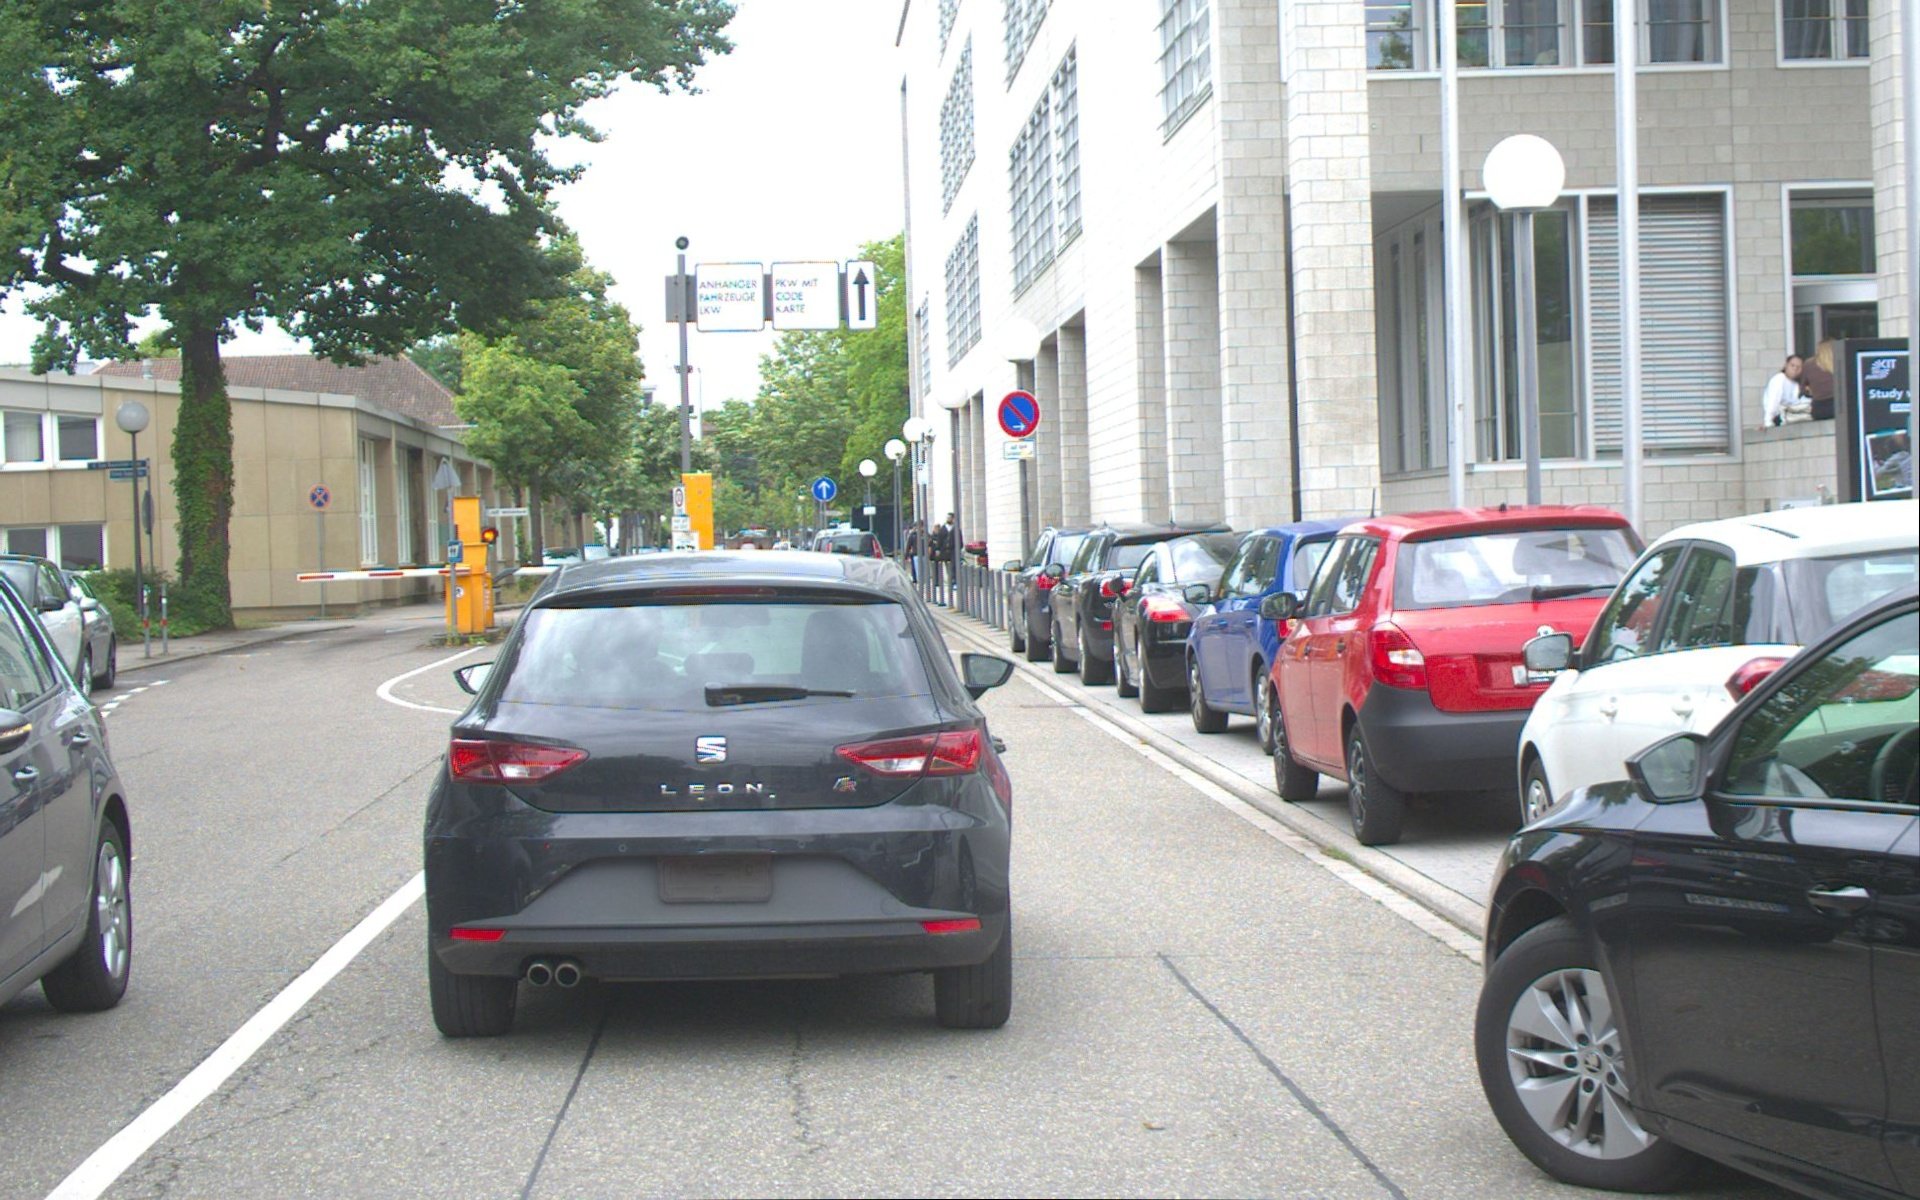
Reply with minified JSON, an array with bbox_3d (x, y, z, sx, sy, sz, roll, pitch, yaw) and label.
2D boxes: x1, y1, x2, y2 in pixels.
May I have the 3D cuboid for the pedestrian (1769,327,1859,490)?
[{"bbox_3d":[8.759,-1.961,35.271,0.805,1.653,0.631,1,3,22],"label":"pedestrian"}]

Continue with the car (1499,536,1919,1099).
[{"bbox_3d":[3.075,0.536,11.067,1.860,1.448,3.859,-2,1,-3],"label":"car"}]

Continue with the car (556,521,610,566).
[{"bbox_3d":[-13.972,-2.096,127.517,1.770,1.595,4.001,-1,1,-3],"label":"car"}]

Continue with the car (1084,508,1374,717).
[{"bbox_3d":[2.106,0.037,28.053,1.848,1.437,4.420,-1,3,-2],"label":"car"}]

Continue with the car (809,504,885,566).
[{"bbox_3d":[-3.246,-1.852,97.692,1.993,1.617,4.429,-3,1,-3],"label":"car"}]

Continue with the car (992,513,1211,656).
[{"bbox_3d":[1.517,-0.201,38.763,1.993,1.447,4.923,-2,1,-3],"label":"car"}]

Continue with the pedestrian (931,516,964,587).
[{"bbox_3d":[-0.303,-1.172,83.480,0.727,1.693,0.588,-1,3,-8],"label":"pedestrian"}]

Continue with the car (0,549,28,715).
[{"bbox_3d":[-9.047,0.327,28.566,1.763,1.407,4.009,-2,2,-4],"label":"car"}]

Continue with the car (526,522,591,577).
[{"bbox_3d":[-12.218,-1.548,104.784,1.770,1.595,4.001,-1,1,-4],"label":"car"}]

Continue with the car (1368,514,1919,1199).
[{"bbox_3d":[2.462,0.559,6.305,1.860,1.397,4.480,-4,2,-14],"label":"car"}]

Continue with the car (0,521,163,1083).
[{"bbox_3d":[-3.481,0.562,9.407,1.783,1.492,4.168,-2,1,-3],"label":"car"}]

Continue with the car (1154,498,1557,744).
[{"bbox_3d":[2.508,0.096,22.885,1.695,1.406,4.377,-2,1,-6],"label":"car"}]

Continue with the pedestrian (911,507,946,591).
[{"bbox_3d":[-0.648,-1.062,71.069,0.611,1.708,0.574,-2,1,3],"label":"pedestrian"}]

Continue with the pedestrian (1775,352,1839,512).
[{"bbox_3d":[8.913,-1.771,36.197,0.629,1.653,0.806,0,3,13],"label":"pedestrian"}]

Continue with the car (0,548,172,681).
[{"bbox_3d":[-10.216,0.131,39.264,1.817,1.384,4.195,-1,1,-5],"label":"car"}]

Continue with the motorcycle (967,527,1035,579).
[{"bbox_3d":[1.027,-1.174,84.476,0.760,1.144,2.660,1,4,22],"label":"motorcycle"}]

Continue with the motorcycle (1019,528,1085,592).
[{"bbox_3d":[1.824,-0.804,67.907,0.566,1.144,2.215,1,4,22],"label":"motorcycle"}]

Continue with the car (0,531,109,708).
[{"bbox_3d":[-9.552,0.156,33.568,1.715,1.580,3.878,-1,2,-4],"label":"car"}]

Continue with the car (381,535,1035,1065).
[{"bbox_3d":[-0.819,0.513,11.590,1.782,1.414,4.130,-1,1,-3],"label":"car"}]

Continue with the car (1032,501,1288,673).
[{"bbox_3d":[1.833,-0.166,32.934,1.817,1.438,4.521,-3,1,-4],"label":"car"}]

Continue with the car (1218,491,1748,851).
[{"bbox_3d":[2.458,0.255,17.214,1.712,1.468,4.274,-4,2,-3],"label":"car"}]

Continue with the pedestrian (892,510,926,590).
[{"bbox_3d":[-1.108,-1.081,74.493,0.696,1.708,0.489,-1,1,-1],"label":"pedestrian"}]

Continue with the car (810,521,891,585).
[{"bbox_3d":[-2.989,-1.255,93.178,1.993,1.617,4.428,-3,1,-4],"label":"car"}]
